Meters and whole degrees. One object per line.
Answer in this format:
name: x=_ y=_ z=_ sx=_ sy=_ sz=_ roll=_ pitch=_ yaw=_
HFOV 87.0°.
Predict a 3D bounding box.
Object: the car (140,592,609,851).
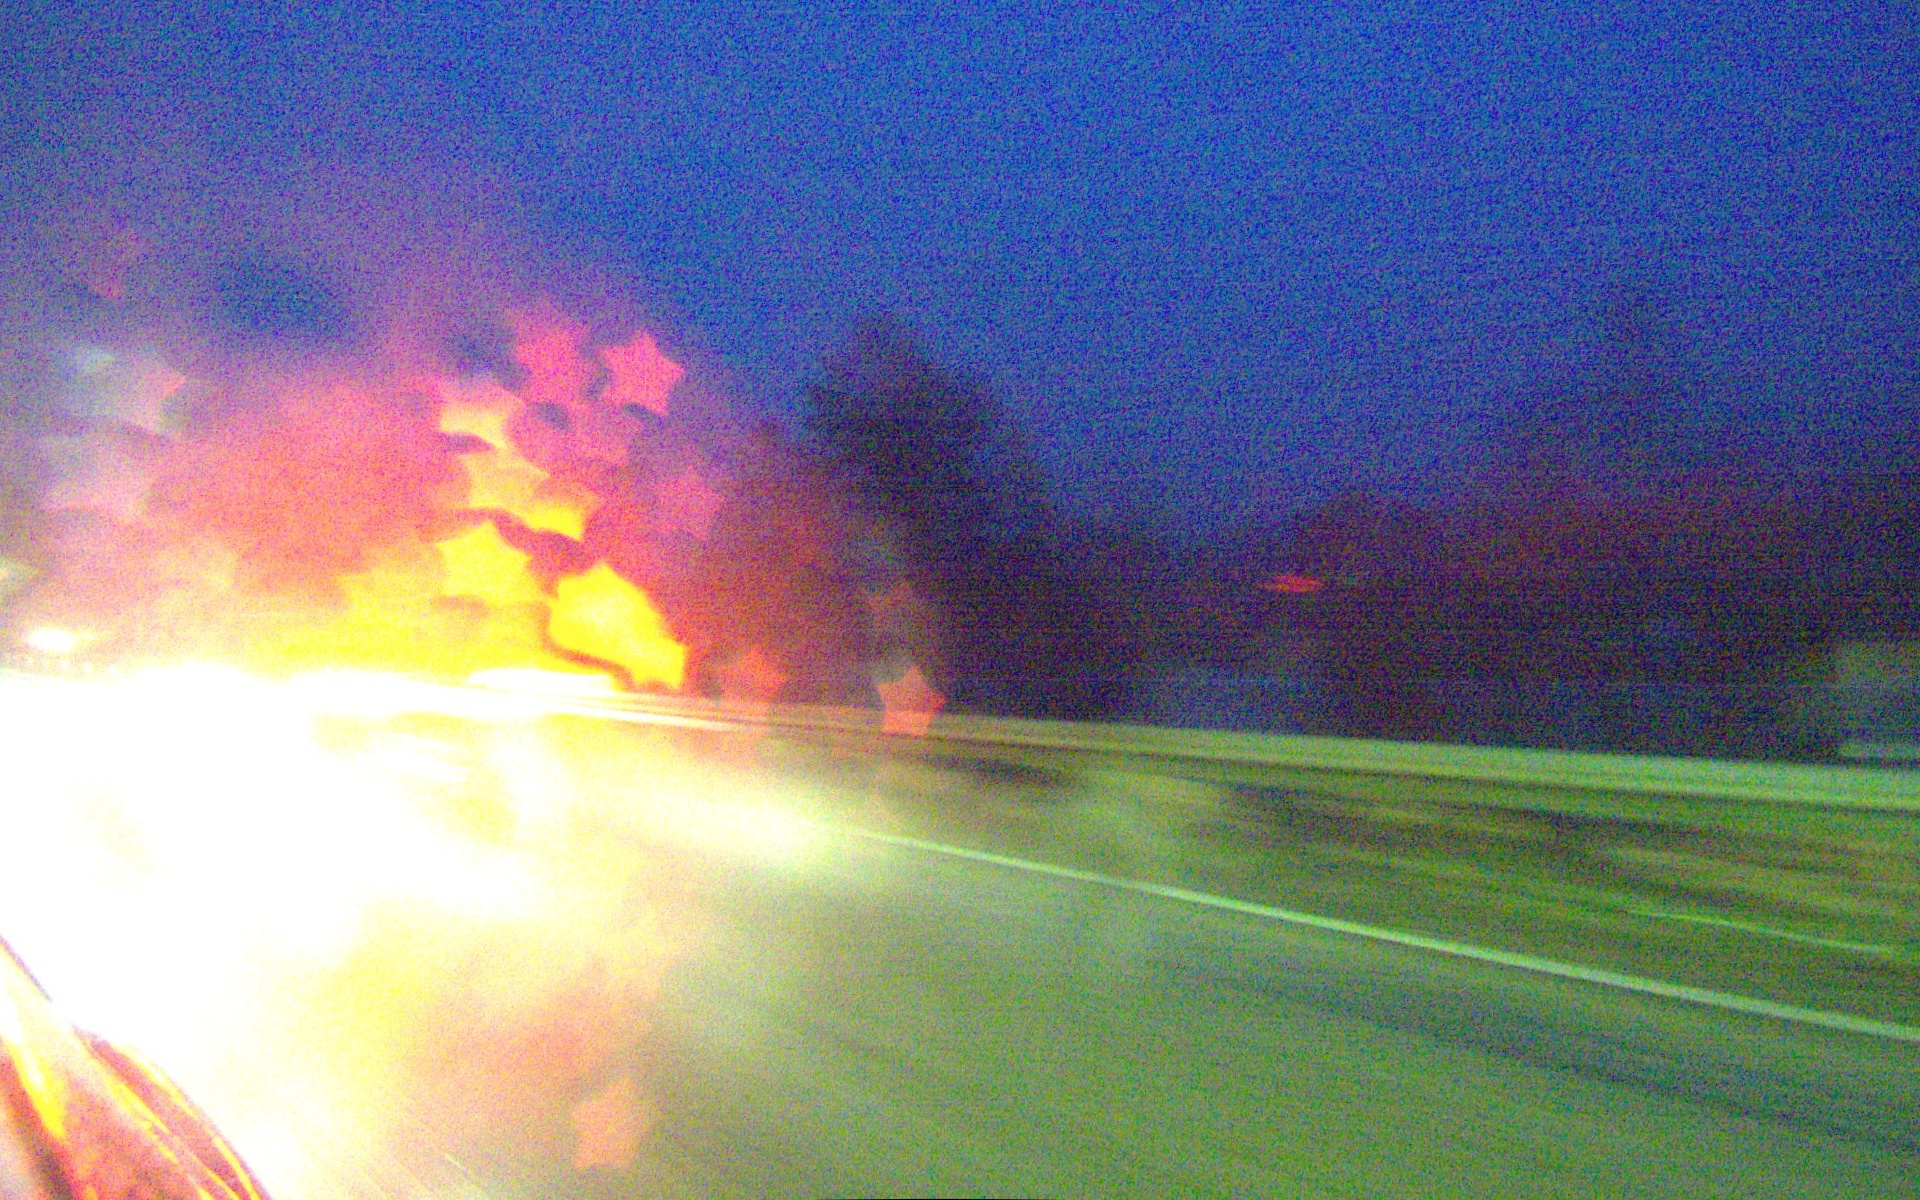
car: x=-4.866 y=0.778 z=8.147 sx=4.344 sy=1.527 sz=1.954 roll=-2 pitch=-2 yaw=41
